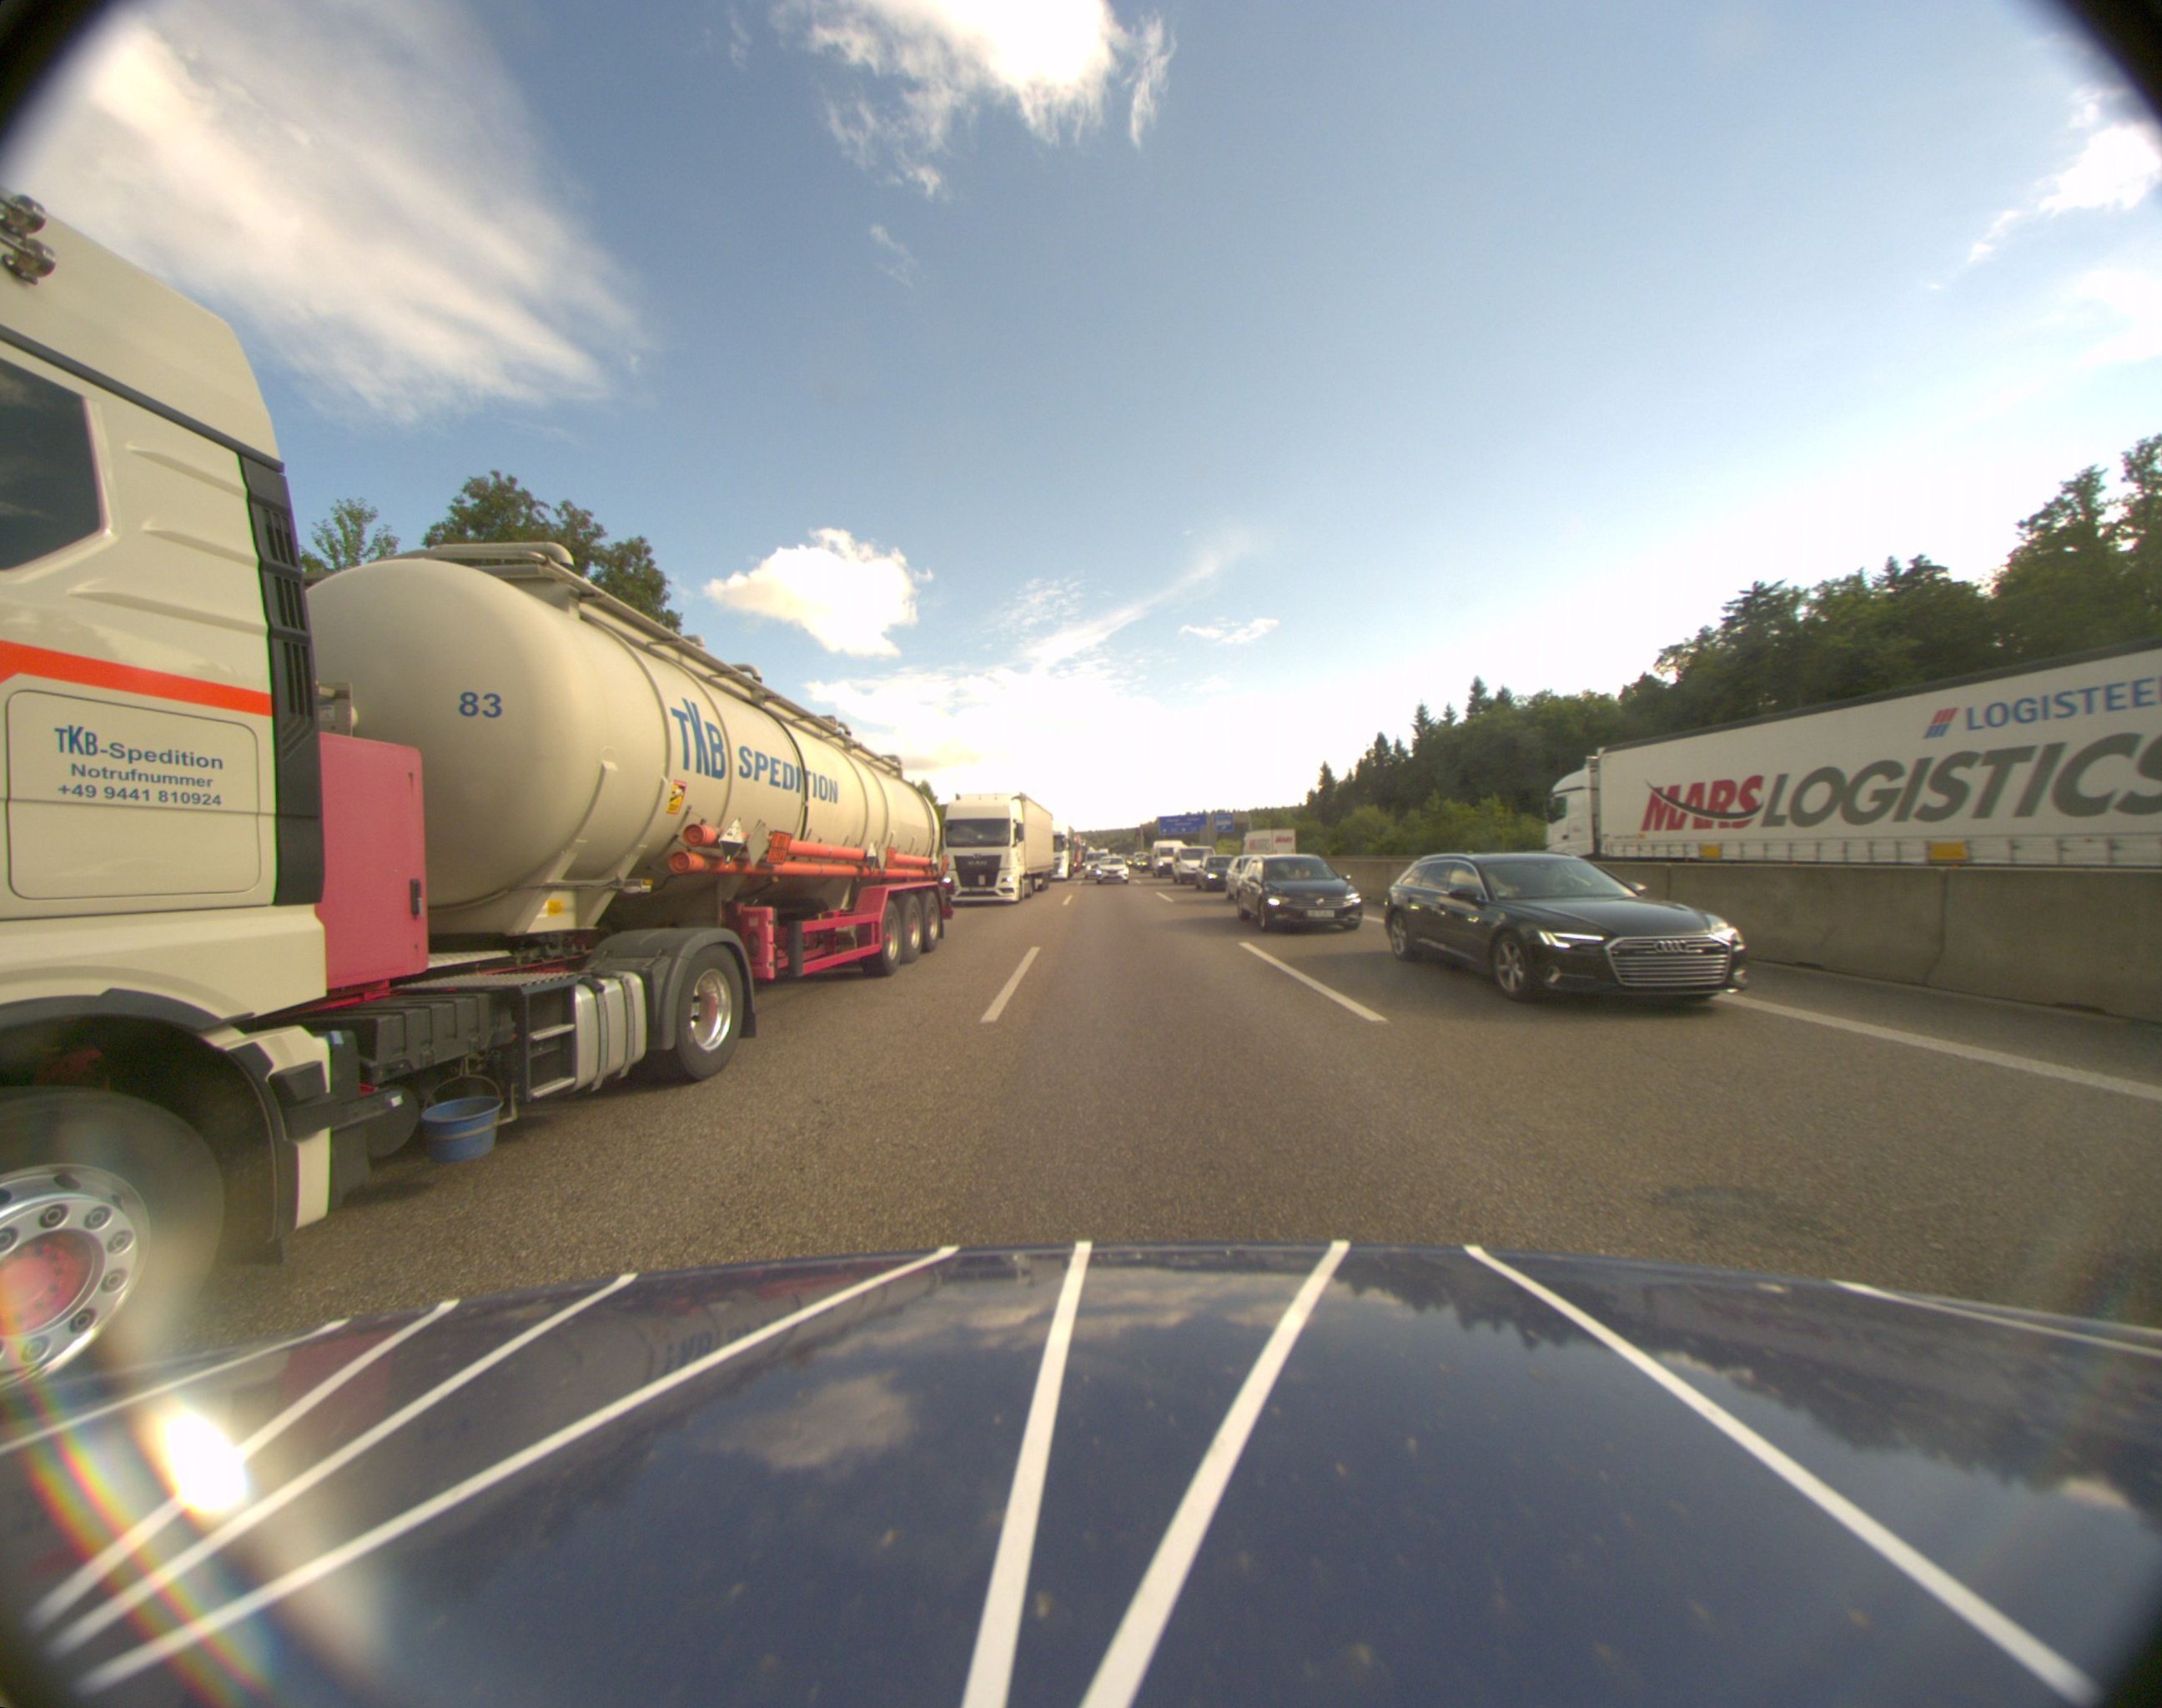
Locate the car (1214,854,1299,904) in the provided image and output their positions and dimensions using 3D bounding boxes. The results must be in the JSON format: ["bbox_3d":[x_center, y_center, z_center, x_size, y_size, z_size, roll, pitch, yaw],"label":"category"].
[{"bbox_3d":[5.670,0.749,25.062,1.809,1.423,4.666,-2,0,2],"label":"car"}]

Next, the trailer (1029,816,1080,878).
[{"bbox_3d":[-1.842,-0.476,59.139,2.841,4.177,13.614,-2,0,2],"label":"trailer"}]

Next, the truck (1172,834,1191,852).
[{"bbox_3d":[24.939,-2.693,188.518,2.939,4.329,13.909,-2,1,1],"label":"truck"}]

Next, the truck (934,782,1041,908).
[{"bbox_3d":[-3.225,-0.297,27.784,2.840,4.048,5.708,-2,1,2],"label":"truck"}]

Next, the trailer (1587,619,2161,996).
[{"bbox_3d":[16.061,-0.727,14.871,3.096,5.044,13.833,-2,1,1],"label":"trailer"}]

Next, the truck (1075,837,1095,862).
[{"bbox_3d":[0.844,-0.847,136.154,2.840,4.178,12.046,-2,1,3],"label":"truck"}]

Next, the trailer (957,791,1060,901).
[{"bbox_3d":[-2.912,-0.335,35.306,2.832,4.047,13.373,-2,0,2],"label":"trailer"}]

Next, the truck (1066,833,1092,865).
[{"bbox_3d":[-0.146,-0.698,107.836,2.840,4.178,12.046,-2,1,3],"label":"truck"}]

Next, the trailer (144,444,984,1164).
[{"bbox_3d":[-3.666,-0.280,9.910,2.805,4.003,11.183,-2,0,2],"label":"trailer"}]

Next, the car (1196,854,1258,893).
[{"bbox_3d":[5.919,0.759,31.186,1.809,1.423,3.994,-2,0,2],"label":"car"}]

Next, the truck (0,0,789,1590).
[{"bbox_3d":[-3.954,-0.239,3.235,2.809,4.020,5.904,-2,0,2],"label":"truck"}]

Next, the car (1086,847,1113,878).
[{"bbox_3d":[1.326,0.602,54.332,1.809,2.052,4.770,-2,0,2],"label":"car"}]

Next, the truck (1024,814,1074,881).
[{"bbox_3d":[-2.076,-0.441,51.882,2.841,4.177,5.708,-2,0,2],"label":"truck"}]

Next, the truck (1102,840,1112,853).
[{"bbox_3d":[8.631,-2.458,247.069,2.840,4.178,12.046,-2,1,3],"label":"truck"}]

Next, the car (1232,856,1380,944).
[{"bbox_3d":[4.385,0.809,15.571,1.915,1.469,4.569,-2,0,4],"label":"car"}]

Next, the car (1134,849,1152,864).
[{"bbox_3d":[7.766,0.315,95.257,1.920,1.785,3.811,-2,0,2],"label":"car"}]

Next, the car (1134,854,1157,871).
[{"bbox_3d":[5.807,0.787,68.700,1.809,1.423,3.660,-2,0,2],"label":"car"}]

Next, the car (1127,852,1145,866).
[{"bbox_3d":[6.068,0.536,84.190,1.809,1.423,3.660,-2,0,2],"label":"car"}]

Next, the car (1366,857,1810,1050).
[{"bbox_3d":[5.002,0.821,8.564,1.887,1.463,4.852,-2,0,2],"label":"car"}]

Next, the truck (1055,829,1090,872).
[{"bbox_3d":[-0.775,-0.427,83.057,2.840,4.178,12.046,-2,1,3],"label":"truck"}]

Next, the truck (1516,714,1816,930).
[{"bbox_3d":[16.146,-0.808,21.870,3.096,5.072,7.140,-2,1,1],"label":"truck"}]

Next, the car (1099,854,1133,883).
[{"bbox_3d":[1.984,0.798,44.192,1.809,1.488,4.666,-1,0,2],"label":"car"}]

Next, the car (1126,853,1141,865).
[{"bbox_3d":[7.161,0.733,104.030,1.920,1.535,3.811,-2,0,2],"label":"car"}]

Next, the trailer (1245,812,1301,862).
[{"bbox_3d":[21.998,-1.891,88.067,3.049,5.250,13.833,-2,1,1],"label":"trailer"}]

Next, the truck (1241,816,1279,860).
[{"bbox_3d":[22.130,-1.949,94.305,3.047,5.222,6.882,-2,1,1],"label":"truck"}]

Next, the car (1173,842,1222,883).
[{"bbox_3d":[6.060,0.429,40.038,1.947,1.953,4.848,-2,0,2],"label":"car"}]

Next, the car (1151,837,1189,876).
[{"bbox_3d":[6.129,0.133,52.953,2.054,2.557,5.862,-1,0,2],"label":"car"}]
